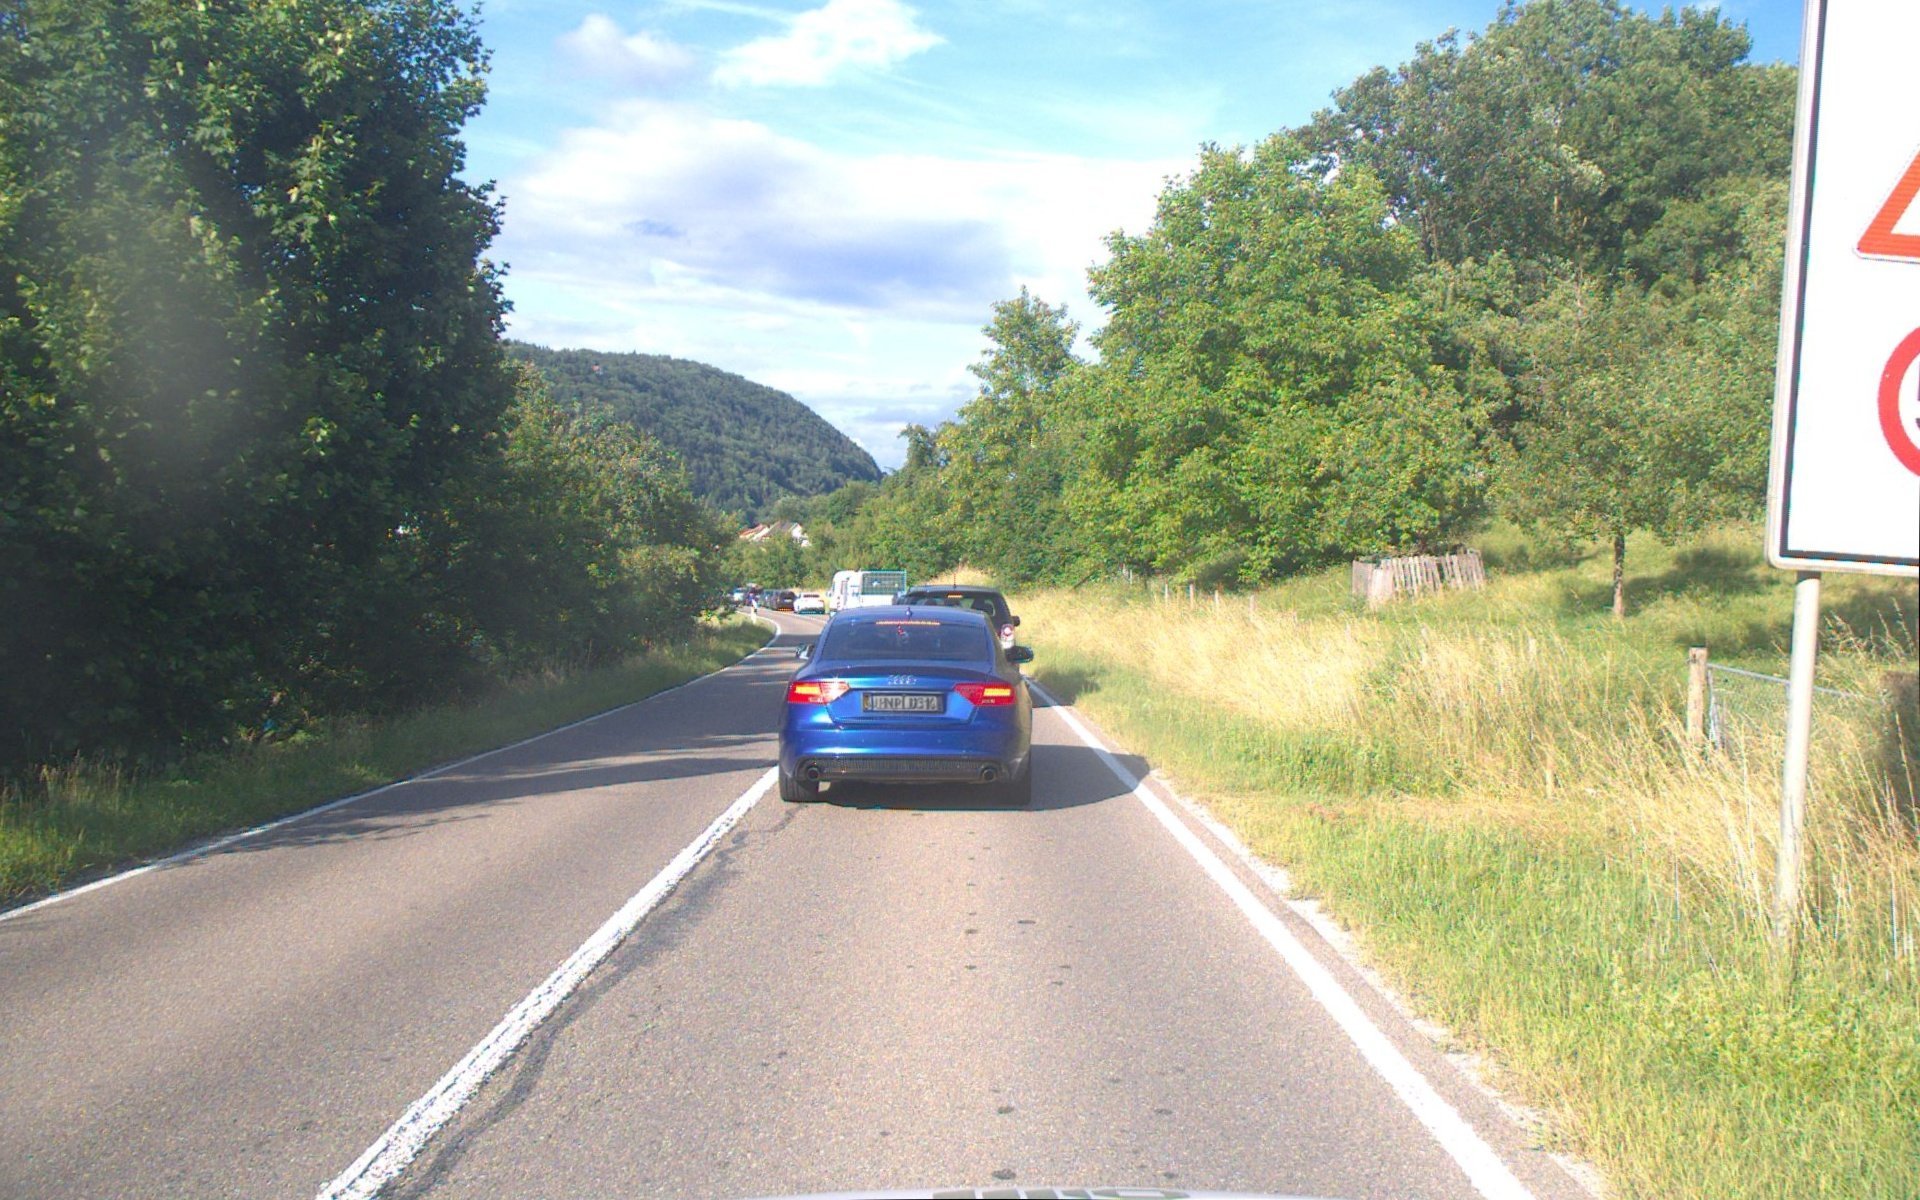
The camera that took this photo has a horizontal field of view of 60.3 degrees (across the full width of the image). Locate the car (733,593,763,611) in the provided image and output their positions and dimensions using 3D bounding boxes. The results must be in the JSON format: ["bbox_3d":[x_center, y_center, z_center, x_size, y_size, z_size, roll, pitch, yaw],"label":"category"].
[{"bbox_3d":[-18.621,0.205,145.351,1.962,1.508,3.981,1,0,-17],"label":"car"}]

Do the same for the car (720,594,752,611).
[{"bbox_3d":[-20.885,0.234,154.094,1.966,1.508,3.972,1,0,-23],"label":"car"}]

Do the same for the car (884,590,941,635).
[{"bbox_3d":[-1.659,0.438,59.242,1.953,1.508,3.999,1,0,-1],"label":"car"}]

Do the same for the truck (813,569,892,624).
[{"bbox_3d":[-5.856,-0.201,88.160,2.813,2.712,10.615,1,0,-11],"label":"truck"}]

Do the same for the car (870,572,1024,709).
[{"bbox_3d":[-0.182,0.528,23.283,1.953,1.732,3.999,1,0,-1],"label":"car"}]

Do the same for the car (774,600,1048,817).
[{"bbox_3d":[-0.301,0.713,12.724,1.757,1.383,4.000,1,0,0],"label":"car"}]

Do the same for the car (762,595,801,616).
[{"bbox_3d":[-13.310,0.400,123.339,1.965,1.508,3.975,1,0,-21],"label":"car"}]

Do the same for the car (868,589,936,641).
[{"bbox_3d":[-1.712,0.446,50.144,1.953,1.508,3.999,1,0,-1],"label":"car"}]

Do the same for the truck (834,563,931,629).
[{"bbox_3d":[-3.621,-0.197,74.228,2.813,2.712,10.364,1,0,-11],"label":"truck"}]

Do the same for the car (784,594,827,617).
[{"bbox_3d":[-10.528,0.357,112.404,1.965,1.508,3.975,1,0,-21],"label":"car"}]
